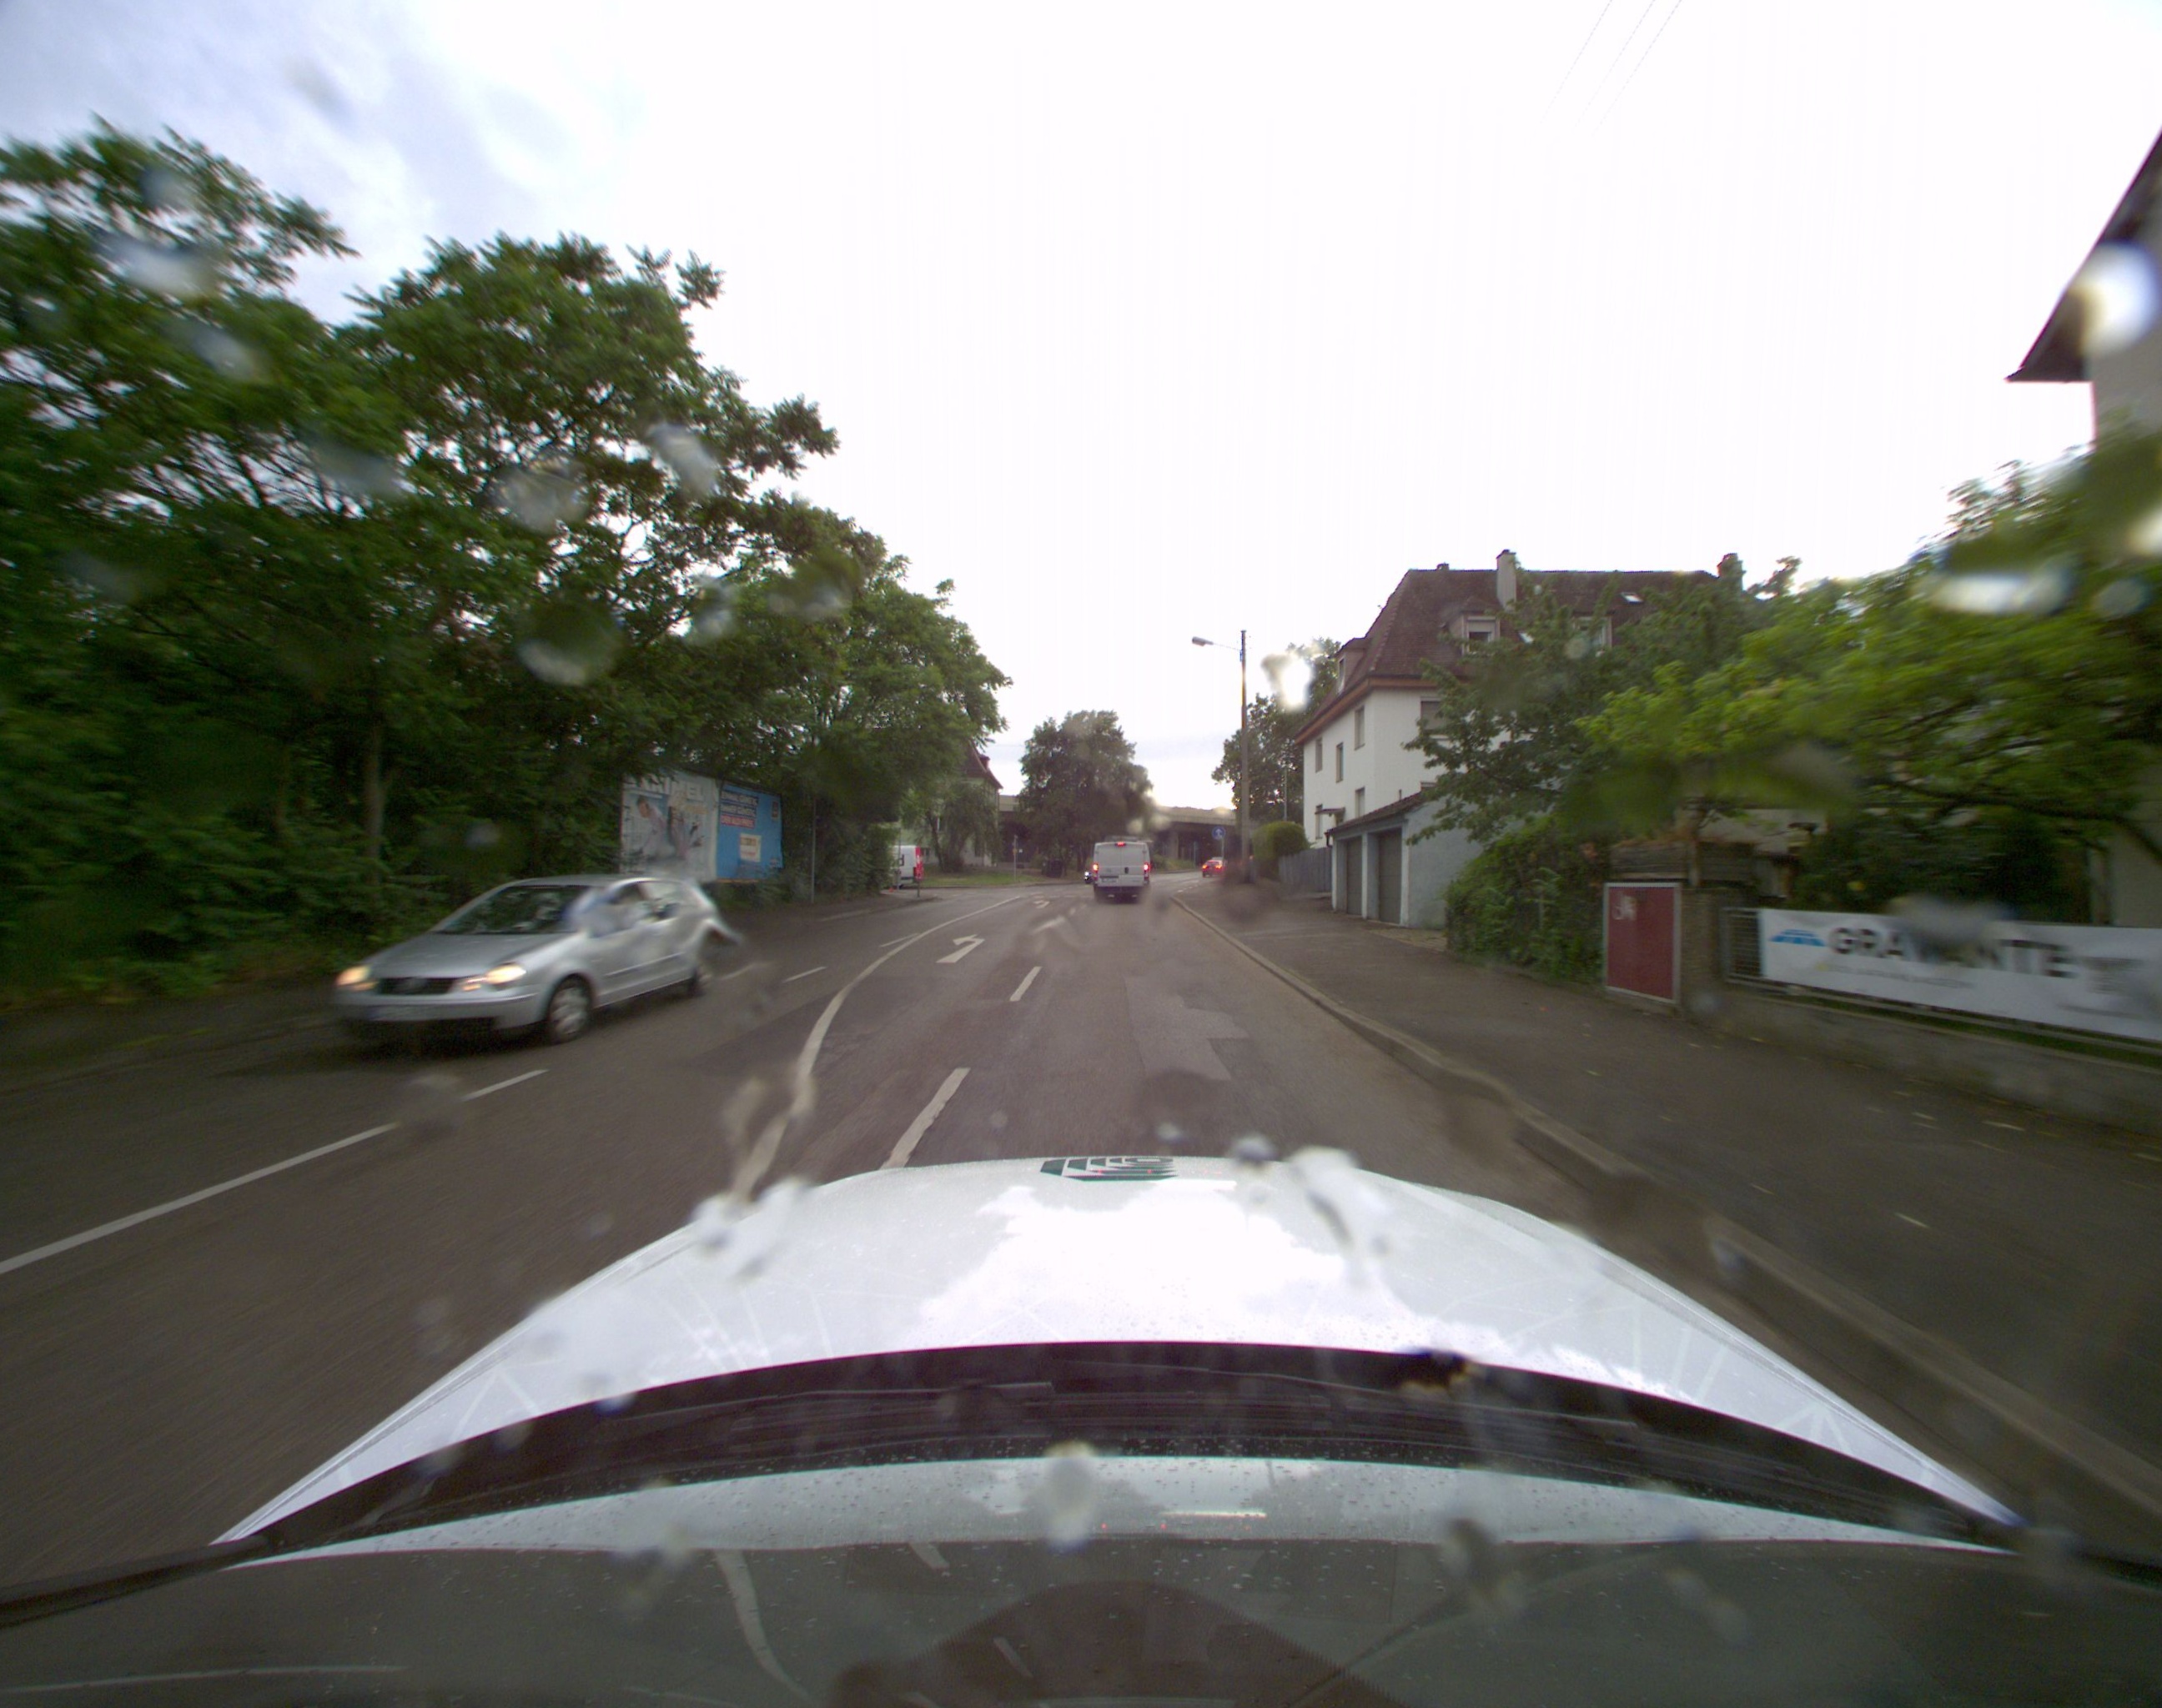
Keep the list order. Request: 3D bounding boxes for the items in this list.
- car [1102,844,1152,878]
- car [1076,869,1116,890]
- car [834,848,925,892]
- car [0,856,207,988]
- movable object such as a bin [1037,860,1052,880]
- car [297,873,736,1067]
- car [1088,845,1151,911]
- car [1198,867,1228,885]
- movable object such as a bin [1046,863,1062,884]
[{"bbox_3d":[4.406,0.648,76.653,2.512,3.018,7.247,1,-1,21],"label":"car"},{"bbox_3d":[1.128,1.879,59.375,1.980,1.457,4.845,0,-2,12],"label":"car"},{"bbox_3d":[-12.386,0.978,50.285,5.028,2.629,2.154,0,-1,1],"label":"car"},{"bbox_3d":[-13.340,0.782,9.555,1.696,1.495,4.001,2,-1,2],"label":"car"},{"bbox_3d":[-2.985,1.323,66.577,0.935,1.564,1.132,6,0,7],"label":"movable object such as a bin"},{"bbox_3d":[-5.273,0.958,8.362,1.648,1.417,3.937,-2,-1,2],"label":"car"},{"bbox_3d":[1.597,0.891,31.512,2.136,2.283,5.070,1,-1,6],"label":"car"},{"bbox_3d":[11.427,1.895,70.184,1.750,1.511,3.774,1,-1,21],"label":"car"},{"bbox_3d":[-2.169,1.513,65.010,0.935,1.564,1.132,6,0,7],"label":"movable object such as a bin"}]
